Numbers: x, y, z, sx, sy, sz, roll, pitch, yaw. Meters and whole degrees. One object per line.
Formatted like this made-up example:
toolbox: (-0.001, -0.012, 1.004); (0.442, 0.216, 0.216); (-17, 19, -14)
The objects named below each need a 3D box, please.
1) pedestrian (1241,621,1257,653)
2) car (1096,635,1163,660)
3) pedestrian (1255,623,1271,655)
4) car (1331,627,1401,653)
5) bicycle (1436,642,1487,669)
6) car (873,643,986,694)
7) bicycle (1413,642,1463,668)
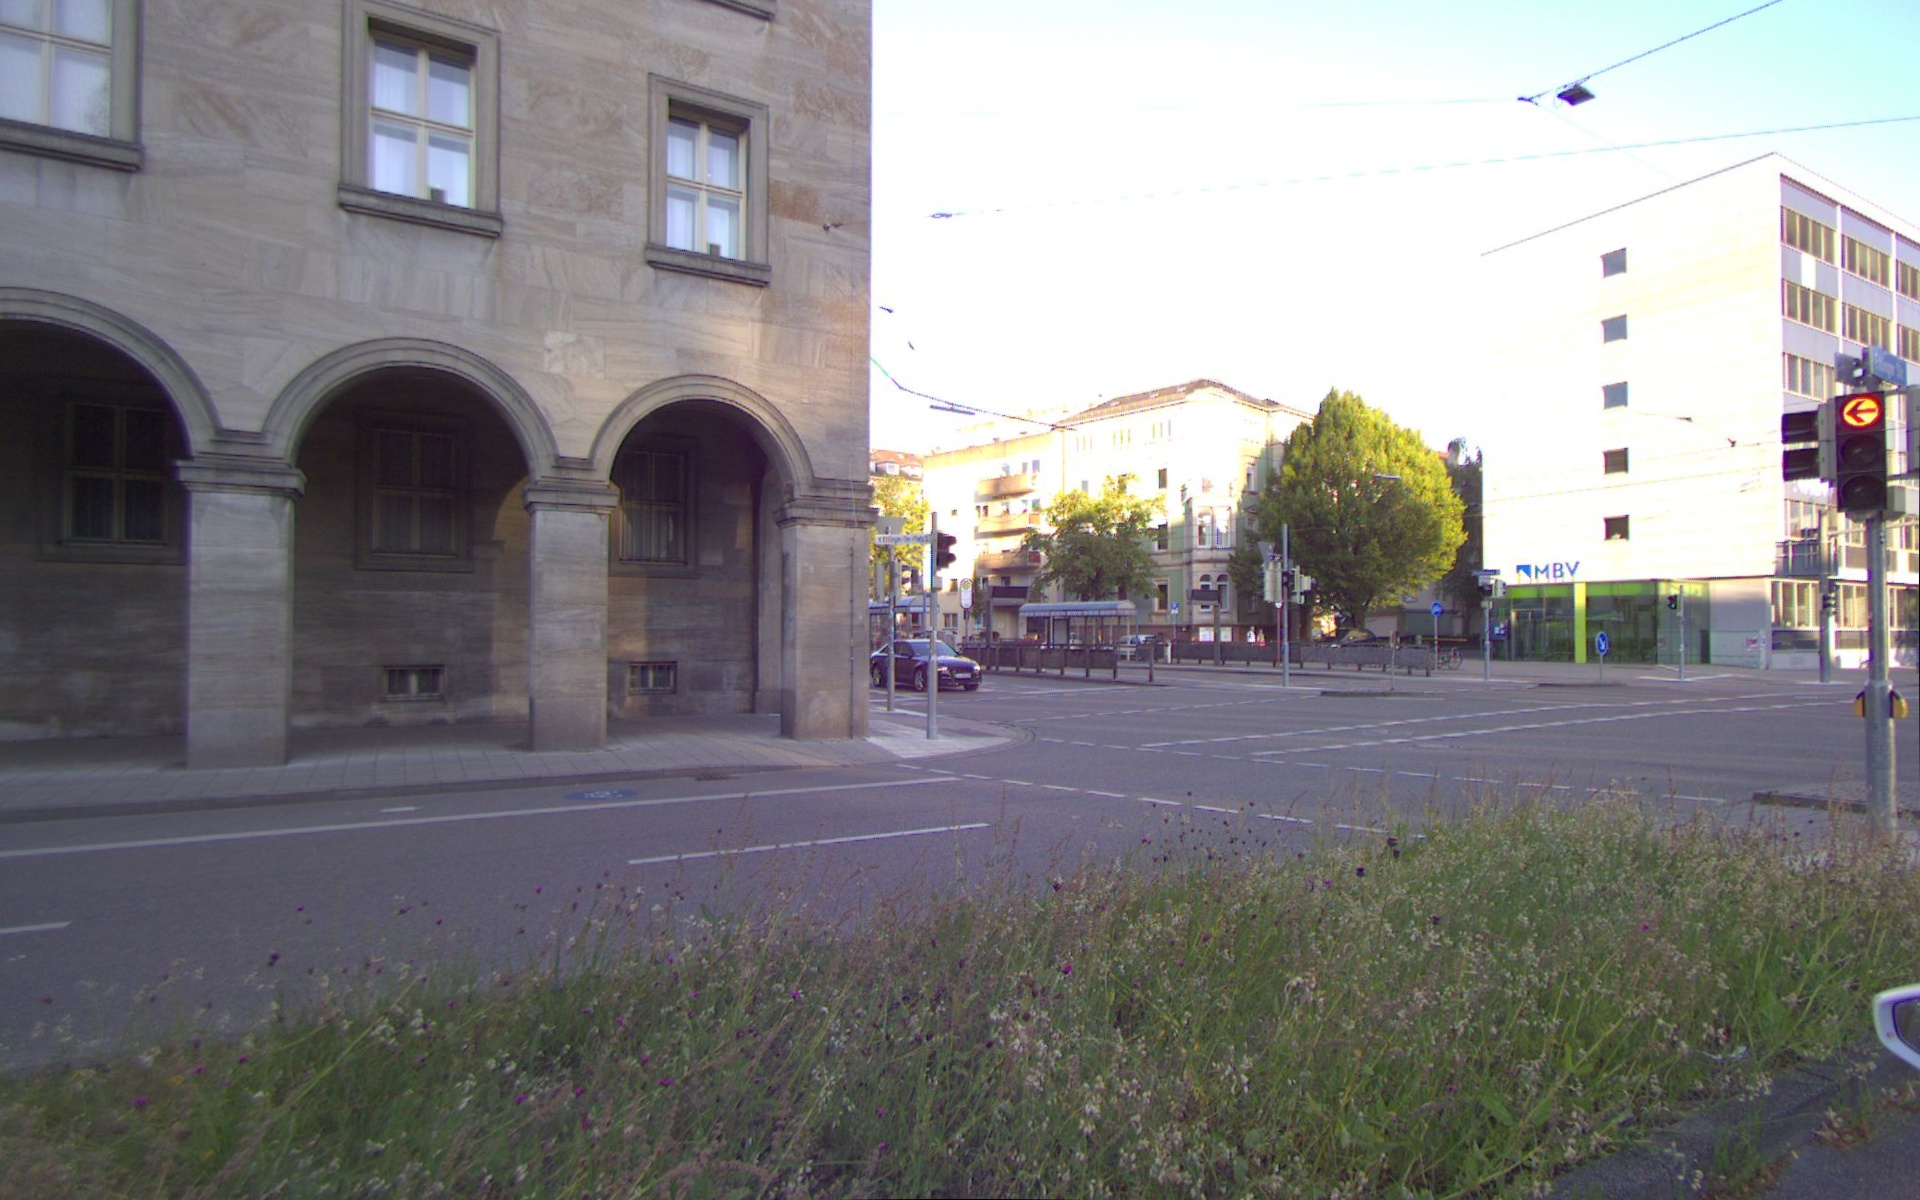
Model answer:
pedestrian: (16.405, 2.086, 56.993); (0.718, 1.813, 0.634); (2, -2, -44)
car: (9.985, 2.773, 59.239); (3.545, 1.390, 1.830); (-2, -3, 45)
pedestrian: (17.246, 2.218, 57.195); (0.718, 1.813, 0.634); (2, -2, -43)
car: (22.191, 2.181, 54.860); (3.553, 1.390, 1.826); (1, -2, -32)
bicycle: (21.638, 2.391, 43.363); (2.183, 1.127, 0.834); (1, -2, -26)
car: (-0.982, 1.971, 29.757); (1.791, 1.344, 4.120); (1, -2, -27)
bicycle: (21.148, 2.407, 44.407); (2.183, 1.127, 0.834); (1, -2, -26)
